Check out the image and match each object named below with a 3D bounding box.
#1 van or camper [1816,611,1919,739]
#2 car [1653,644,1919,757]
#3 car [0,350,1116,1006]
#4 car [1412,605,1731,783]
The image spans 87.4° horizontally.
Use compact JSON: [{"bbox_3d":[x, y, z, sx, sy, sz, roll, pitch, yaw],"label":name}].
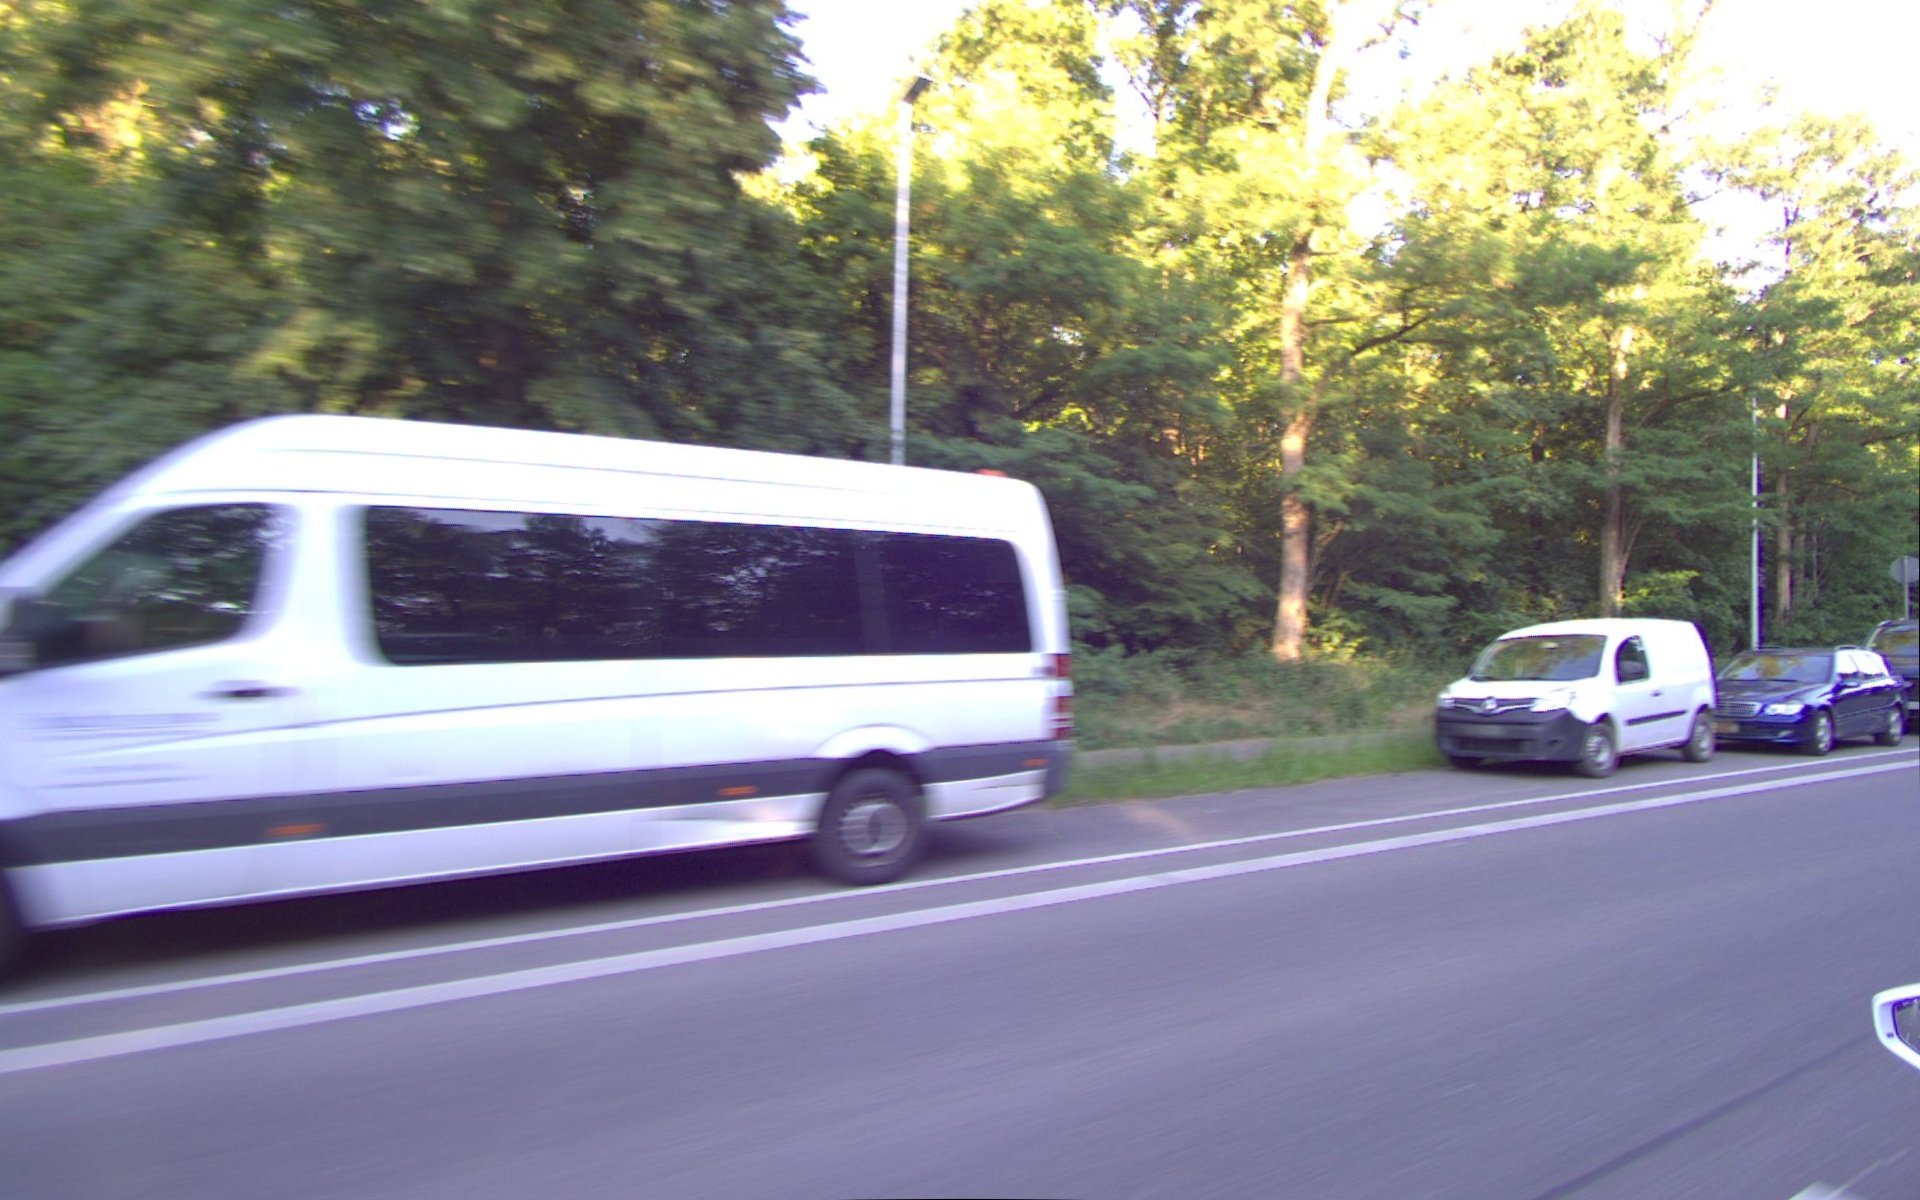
[{"bbox_3d":[17.558,1.286,17.868,5.401,2.044,1.992,2,-4,-32],"label":"van or camper"},{"bbox_3d":[12.284,1.391,14.847,4.395,1.451,1.662,1,-3,-31],"label":"car"},{"bbox_3d":[-2.458,0.416,6.097,7.006,2.640,2.070,1,-4,-31],"label":"car"},{"bbox_3d":[7.730,1.092,12.577,4.341,1.882,1.678,2,-4,-33],"label":"car"}]
